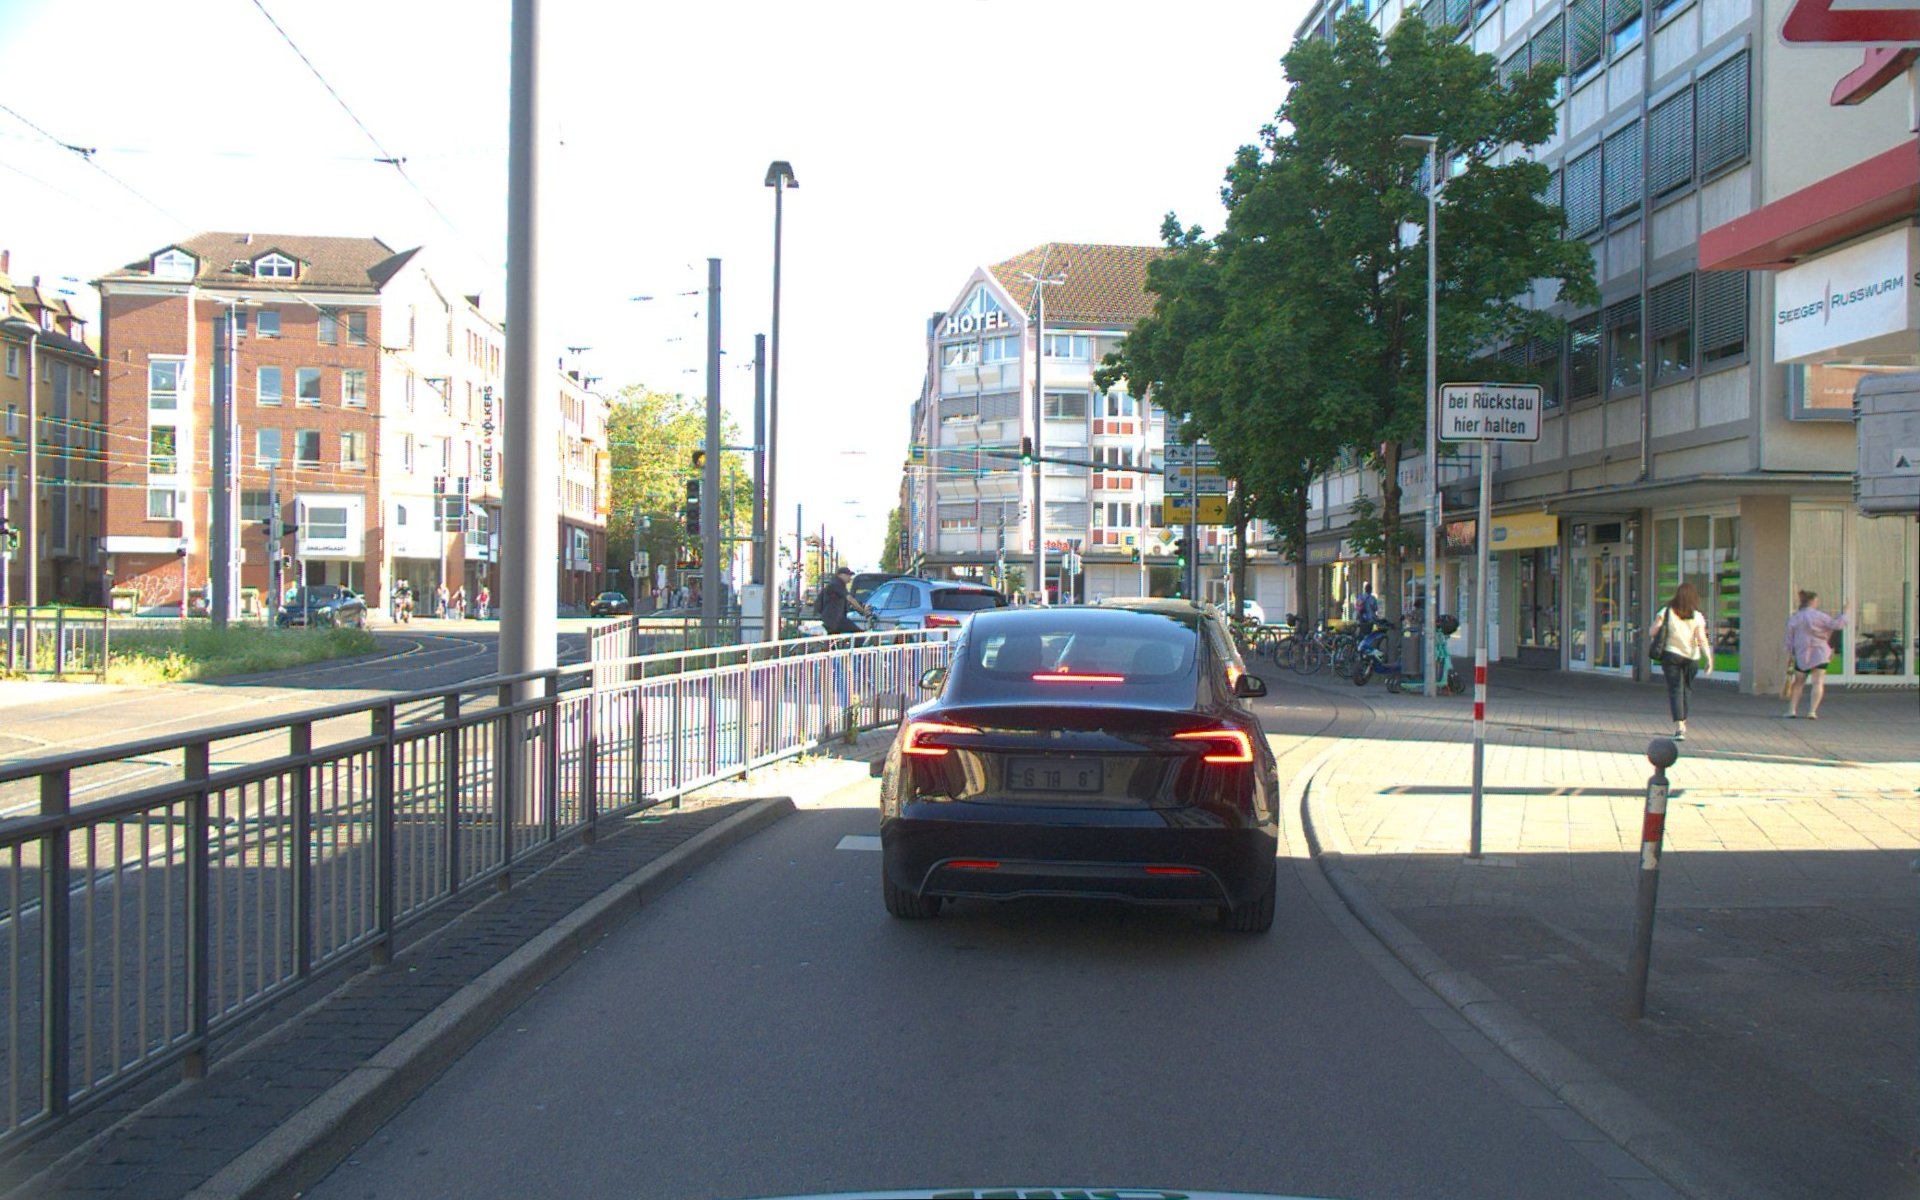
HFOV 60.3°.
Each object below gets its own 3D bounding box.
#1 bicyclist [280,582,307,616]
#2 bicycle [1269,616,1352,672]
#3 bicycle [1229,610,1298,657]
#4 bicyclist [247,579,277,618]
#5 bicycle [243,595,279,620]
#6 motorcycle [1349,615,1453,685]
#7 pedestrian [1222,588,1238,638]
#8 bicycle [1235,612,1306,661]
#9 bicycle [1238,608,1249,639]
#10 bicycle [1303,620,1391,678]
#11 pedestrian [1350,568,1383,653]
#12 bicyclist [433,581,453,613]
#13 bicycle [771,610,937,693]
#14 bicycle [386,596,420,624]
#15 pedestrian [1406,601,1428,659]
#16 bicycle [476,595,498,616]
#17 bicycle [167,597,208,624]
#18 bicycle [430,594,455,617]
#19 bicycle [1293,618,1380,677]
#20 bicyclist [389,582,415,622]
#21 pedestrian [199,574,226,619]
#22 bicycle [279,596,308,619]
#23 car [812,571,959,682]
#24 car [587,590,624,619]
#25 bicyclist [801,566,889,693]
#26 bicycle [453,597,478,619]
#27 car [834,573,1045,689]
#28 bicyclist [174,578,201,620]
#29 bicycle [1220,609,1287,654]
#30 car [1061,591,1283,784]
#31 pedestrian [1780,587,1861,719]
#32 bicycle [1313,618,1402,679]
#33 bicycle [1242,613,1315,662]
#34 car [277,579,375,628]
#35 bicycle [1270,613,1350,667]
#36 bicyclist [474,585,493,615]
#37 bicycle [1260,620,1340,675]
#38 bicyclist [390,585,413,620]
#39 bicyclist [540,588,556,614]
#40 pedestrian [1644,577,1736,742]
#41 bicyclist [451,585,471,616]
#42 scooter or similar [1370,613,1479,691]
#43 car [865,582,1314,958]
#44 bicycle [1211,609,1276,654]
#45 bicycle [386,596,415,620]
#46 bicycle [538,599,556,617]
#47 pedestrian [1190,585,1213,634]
[{"bbox_3d":[-29.680,-0.056,73.649,0.689,1.496,0.973,0,0,7],"label":"bicyclist"},{"bbox_3d":[7.096,0.889,33.501,1.620,1.118,0.349,1,-1,-11],"label":"bicycle"},{"bbox_3d":[7.428,0.821,40.448,1.616,1.118,0.350,1,-1,1],"label":"bicycle"},{"bbox_3d":[-28.422,-0.061,67.330,0.880,1.529,0.696,1,-1,-1],"label":"bicyclist"},{"bbox_3d":[-28.449,0.320,67.344,0.513,0.988,2.246,1,0,-1],"label":"bicycle"},{"bbox_3d":[7.811,0.884,29.313,1.673,1.194,0.541,1,-1,-3],"label":"motorcycle"},{"bbox_3d":[9.516,0.461,58.276,0.515,1.740,0.403,1,-1,7],"label":"pedestrian"},{"bbox_3d":[7.399,0.868,39.434,1.616,1.118,0.350,1,-1,1],"label":"bicycle"},{"bbox_3d":[9.919,0.827,57.853,0.325,1.052,1.257,1,0,8],"label":"bicycle"},{"bbox_3d":[7.383,0.934,31.554,1.620,1.079,0.349,1,-1,-11],"label":"bicycle"},{"bbox_3d":[9.918,0.265,40.343,0.648,2.049,0.579,1,-1,1],"label":"pedestrian"},{"bbox_3d":[-25.772,-0.160,82.443,0.767,1.590,0.746,0,0,1],"label":"bicyclist"},{"bbox_3d":[-1.412,0.685,22.393,2.313,1.072,0.622,1,-1,-39],"label":"bicycle"},{"bbox_3d":[-22.168,0.393,65.861,0.449,1.112,2.202,1,0,3],"label":"bicycle"},{"bbox_3d":[10.936,0.706,39.603,0.381,1.367,0.513,1,-1,1],"label":"pedestrian"},{"bbox_3d":[-25.356,0.308,88.649,0.518,1.107,2.225,0,0,1],"label":"bicycle"},{"bbox_3d":[-28.248,0.385,60.501,0.437,0.988,2.246,1,0,-1],"label":"bicycle"},{"bbox_3d":[-25.771,0.266,82.419,0.518,1.107,2.284,0,0,1],"label":"bicycle"},{"bbox_3d":[7.279,0.912,31.977,1.620,1.118,0.349,1,-1,-11],"label":"bicycle"},{"bbox_3d":[-22.240,0.075,65.894,0.769,1.554,0.589,1,-1,4],"label":"bicyclist"},{"bbox_3d":[-31.391,-0.146,69.478,0.767,1.852,0.746,1,-1,1],"label":"pedestrian"},{"bbox_3d":[-29.697,0.328,73.684,0.396,0.998,1.695,1,0,7],"label":"bicycle"},{"bbox_3d":[-1.547,0.488,32.601,1.962,2.049,3.981,0,0,-17],"label":"car"},{"bbox_3d":[-21.999,0.269,102.747,1.663,1.762,3.704,1,0,-3],"label":"car"},{"bbox_3d":[-1.554,0.384,22.249,0.753,1.657,0.964,1,-1,-39],"label":"bicyclist"},{"bbox_3d":[-25.731,0.406,86.085,0.518,1.107,2.284,1,0,1],"label":"bicycle"},{"bbox_3d":[-0.423,0.460,26.495,1.859,1.691,4.125,1,0,-25],"label":"car"},{"bbox_3d":[-28.253,-0.034,60.508,0.620,1.529,0.696,1,-1,-1],"label":"bicyclist"},{"bbox_3d":[7.362,0.778,41.493,1.616,1.118,0.350,0,0,1],"label":"bicycle"},{"bbox_3d":[1.857,0.676,14.994,1.714,1.480,4.003,1,0,6],"label":"car"},{"bbox_3d":[11.404,0.688,21.950,0.871,1.696,0.808,1,-1,23],"label":"pedestrian"},{"bbox_3d":[7.480,0.920,31.134,1.620,1.118,0.349,1,-1,-11],"label":"bicycle"},{"bbox_3d":[7.383,0.867,38.407,1.616,1.118,0.350,1,-1,1],"label":"bicycle"},{"bbox_3d":[-21.102,0.127,55.204,1.675,1.553,4.036,1,0,1],"label":"car"},{"bbox_3d":[7.500,0.849,35.456,1.616,1.118,0.350,1,-1,1],"label":"bicycle"},{"bbox_3d":[-25.384,0.006,88.135,0.767,1.590,0.746,0,0,1],"label":"bicyclist"},{"bbox_3d":[7.075,0.985,34.427,1.620,1.118,0.349,1,-1,-11],"label":"bicycle"},{"bbox_3d":[-26.058,0.130,77.204,0.767,1.590,0.746,1,-1,1],"label":"bicyclist"},{"bbox_3d":[-26.154,0.070,105.071,0.767,1.590,0.746,1,-1,1],"label":"bicyclist"},{"bbox_3d":[8.190,0.650,18.595,0.895,1.783,1.038,1,-1,22],"label":"pedestrian"},{"bbox_3d":[-25.787,-0.001,85.493,0.767,1.590,0.746,0,0,1],"label":"bicyclist"},{"bbox_3d":[7.664,0.842,27.300,1.610,1.236,0.644,1,-1,30],"label":"scooter or similar"},{"bbox_3d":[0.661,0.692,8.694,1.791,1.481,4.002,1,0,4],"label":"car"},{"bbox_3d":[7.292,0.803,42.586,1.616,1.118,0.350,1,-1,1],"label":"bicycle"},{"bbox_3d":[-26.091,0.367,77.170,0.526,1.107,2.225,1,0,1],"label":"bicycle"},{"bbox_3d":[-26.184,0.504,104.872,0.518,1.107,2.225,1,0,1],"label":"bicycle"},{"bbox_3d":[8.470,0.330,58.054,0.685,1.691,0.777,1,-1,-1],"label":"pedestrian"}]
